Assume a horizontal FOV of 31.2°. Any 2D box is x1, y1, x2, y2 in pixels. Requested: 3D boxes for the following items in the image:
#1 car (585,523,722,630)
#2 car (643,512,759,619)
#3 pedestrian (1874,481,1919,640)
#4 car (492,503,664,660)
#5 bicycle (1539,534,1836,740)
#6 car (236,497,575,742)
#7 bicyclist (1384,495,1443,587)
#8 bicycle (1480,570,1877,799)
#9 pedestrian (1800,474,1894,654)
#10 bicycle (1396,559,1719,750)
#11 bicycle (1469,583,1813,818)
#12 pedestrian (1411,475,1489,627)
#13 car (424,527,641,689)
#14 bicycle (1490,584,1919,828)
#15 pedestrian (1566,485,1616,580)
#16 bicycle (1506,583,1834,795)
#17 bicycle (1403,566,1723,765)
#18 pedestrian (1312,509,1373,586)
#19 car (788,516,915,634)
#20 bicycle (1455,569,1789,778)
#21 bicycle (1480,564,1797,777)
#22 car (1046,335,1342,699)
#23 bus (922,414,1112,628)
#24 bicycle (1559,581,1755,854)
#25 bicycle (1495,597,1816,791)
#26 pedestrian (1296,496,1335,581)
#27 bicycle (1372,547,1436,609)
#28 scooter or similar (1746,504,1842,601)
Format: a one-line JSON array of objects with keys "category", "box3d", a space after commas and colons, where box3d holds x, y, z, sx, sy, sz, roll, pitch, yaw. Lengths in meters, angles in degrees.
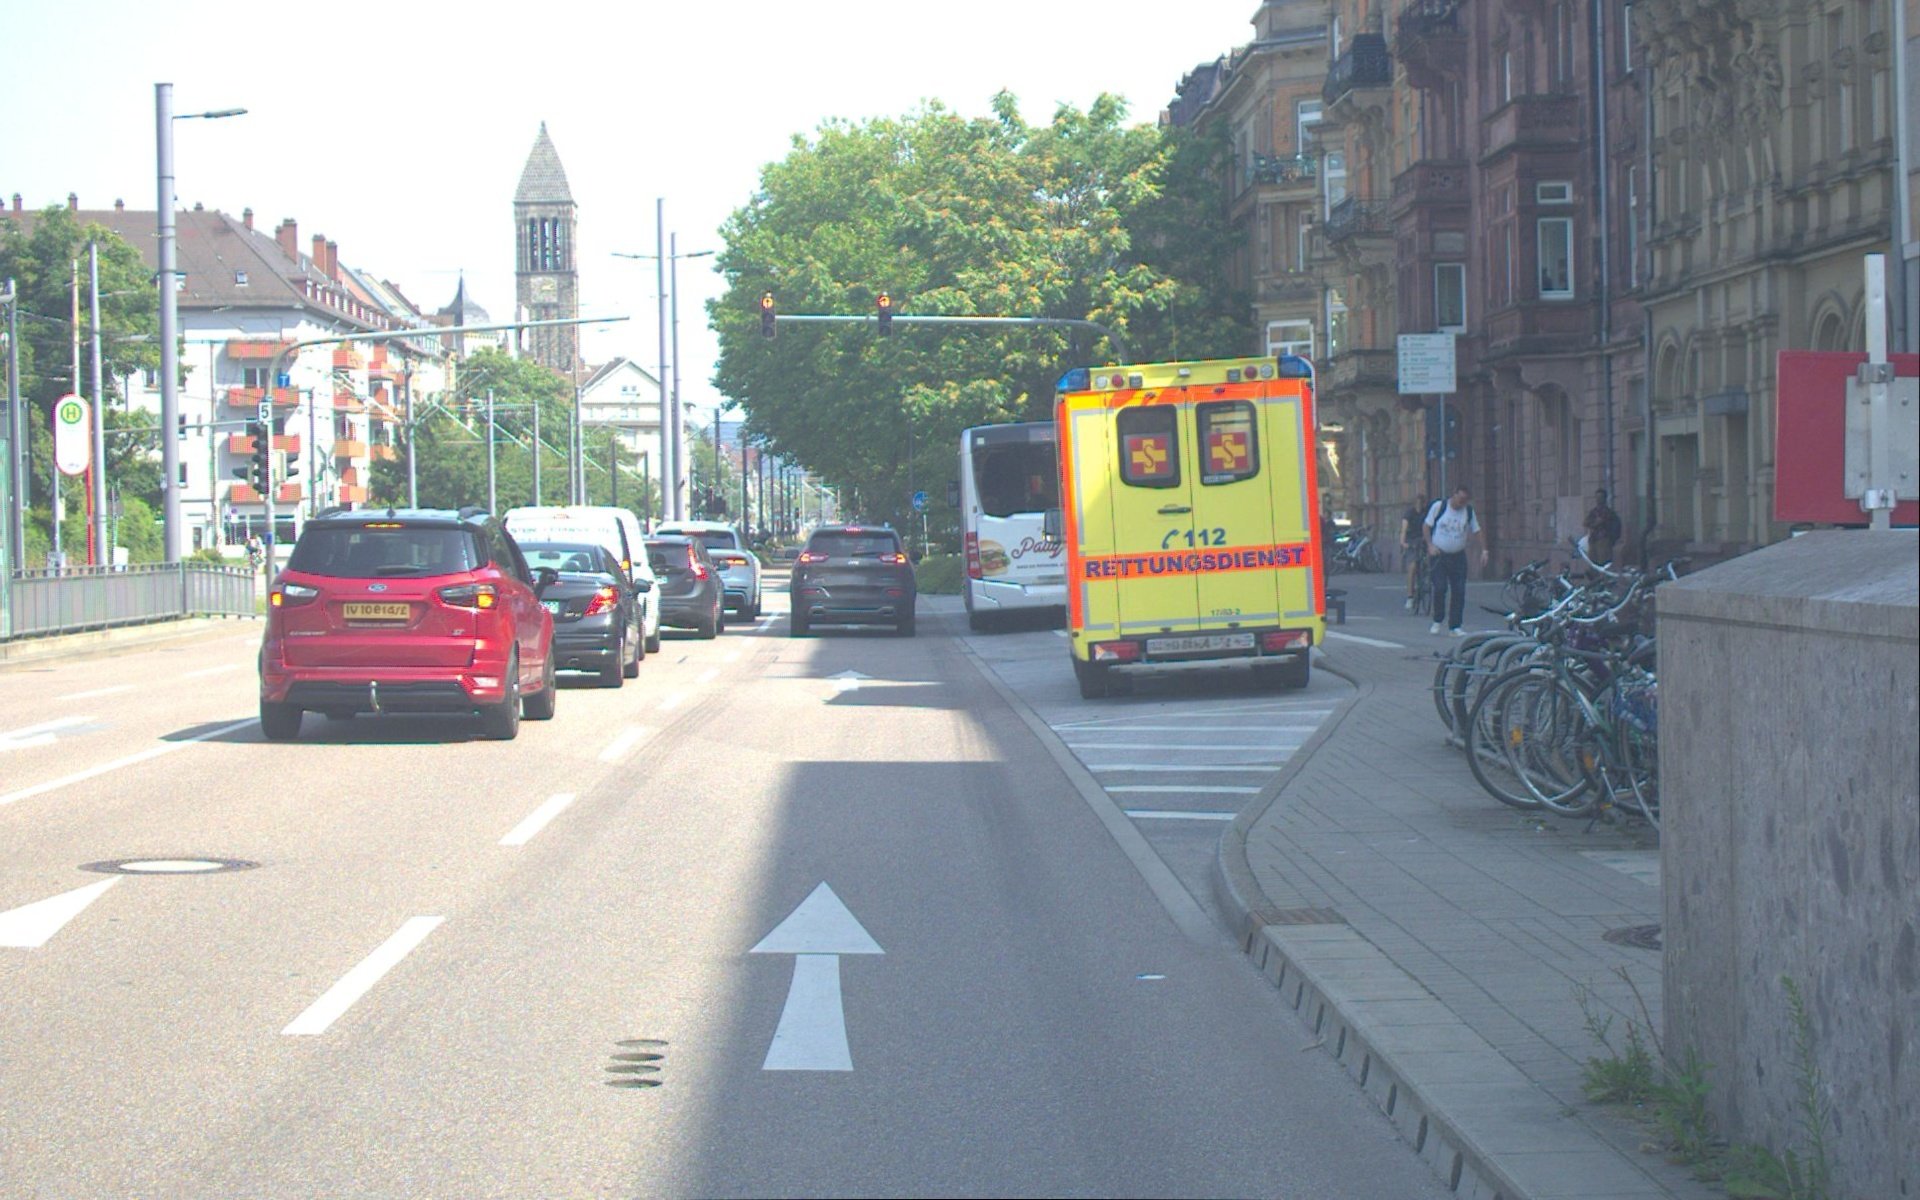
[{"category": "car", "box3d": [-4.400, -0.344, 49.858, 1.790, 1.467, 4.000, -1, 1, -3]}, {"category": "car", "box3d": [-4.287, -0.579, 57.379, 1.790, 1.692, 4.000, -1, 1, -3]}, {"category": "pedestrian", "box3d": [9.144, -0.386, 32.713, 0.643, 1.488, 0.789, -1, 1, -2]}, {"category": "car", "box3d": [-4.559, -0.233, 41.508, 1.790, 1.774, 4.000, -1, 1, -3]}, {"category": "bicycle", "box3d": [4.372, 0.215, 20.730, 1.674, 1.211, 0.644, 0, 1, 4]}, {"category": "car", "box3d": [-3.959, 0.082, 25.160, 1.762, 1.612, 4.083, -1, 1, 0]}, {"category": "bicyclist", "box3d": [6.571, -0.860, 49.829, 0.753, 1.317, 0.582, -1, 1, -1]}, {"category": "bicycle", "box3d": [3.453, 0.401, 16.577, 1.835, 1.068, 0.365, 0, 2, -1]}, {"category": "pedestrian", "box3d": [8.437, -0.344, 32.716, 0.643, 1.679, 0.789, -1, 1, -2]}, {"category": "bicycle", "box3d": [3.443, 0.307, 19.904, 1.776, 1.068, 0.644, 0, 1, 3]}, {"category": "bicycle", "box3d": [3.187, 0.466, 16.130, 1.537, 1.068, 0.365, 0, 2, -1]}, {"category": "pedestrian", "box3d": [5.437, -0.543, 38.129, 0.697, 1.661, 0.602, 0, 1, 25]}, {"category": "car", "box3d": [-4.095, 0.030, 33.483, 1.790, 1.426, 4.001, -1, 1, -3]}, {"category": "bicycle", "box3d": [3.511, 0.475, 15.719, 2.120, 1.068, 0.382, 0, 2, -5]}, {"category": "pedestrian", "box3d": [10.675, -1.145, 58.162, 0.622, 1.587, 0.696, -1, 1, -7]}, {"category": "bicycle", "box3d": [3.497, 0.434, 16.979, 1.537, 1.013, 0.365, 0, 2, -1]}, {"category": "bicycle", "box3d": [3.347, 0.356, 19.166, 1.658, 1.068, 0.644, -1, 1, -1]}, {"category": "pedestrian", "box3d": [9.126, -1.273, 82.183, 1.249, 1.745, 1.526, -1, 3, -1]}, {"category": "car", "box3d": [-1.645, -0.376, 51.255, 1.790, 1.672, 4.000, -1, 1, -3]}, {"category": "bicycle", "box3d": [3.529, 0.383, 18.408, 1.658, 1.068, 0.644, 0, 2, -1]}, {"category": "bicycle", "box3d": [3.497, 0.357, 17.771, 1.537, 1.068, 0.472, 0, 2, -1]}, {"category": "car", "box3d": [2.021, -0.755, 30.789, 2.299, 2.878, 5.599, -2, 2, 2]}, {"category": "bus", "box3d": [0.754, -1.273, 55.741, 2.533, 3.021, 12.437, -1, 1, -1]}, {"category": "bicycle", "box3d": [2.947, 0.471, 14.631, 0.475, 1.067, 1.506, -1, 1, -1]}, {"category": "bicycle", "box3d": [3.502, 0.469, 17.355, 1.537, 0.949, 0.365, 0, 2, -1]}, {"category": "pedestrian", "box3d": [6.972, -1.206, 67.471, 0.697, 1.661, 0.603, -1, 1, 1]}, {"category": "bicycle", "box3d": [6.434, -0.327, 49.884, 0.589, 0.852, 1.776, -1, 1, -3]}, {"category": "scooter or similar", "box3d": [10.566, -0.603, 43.585, 0.512, 1.192, 1.305, -2, 1, -20]}]
